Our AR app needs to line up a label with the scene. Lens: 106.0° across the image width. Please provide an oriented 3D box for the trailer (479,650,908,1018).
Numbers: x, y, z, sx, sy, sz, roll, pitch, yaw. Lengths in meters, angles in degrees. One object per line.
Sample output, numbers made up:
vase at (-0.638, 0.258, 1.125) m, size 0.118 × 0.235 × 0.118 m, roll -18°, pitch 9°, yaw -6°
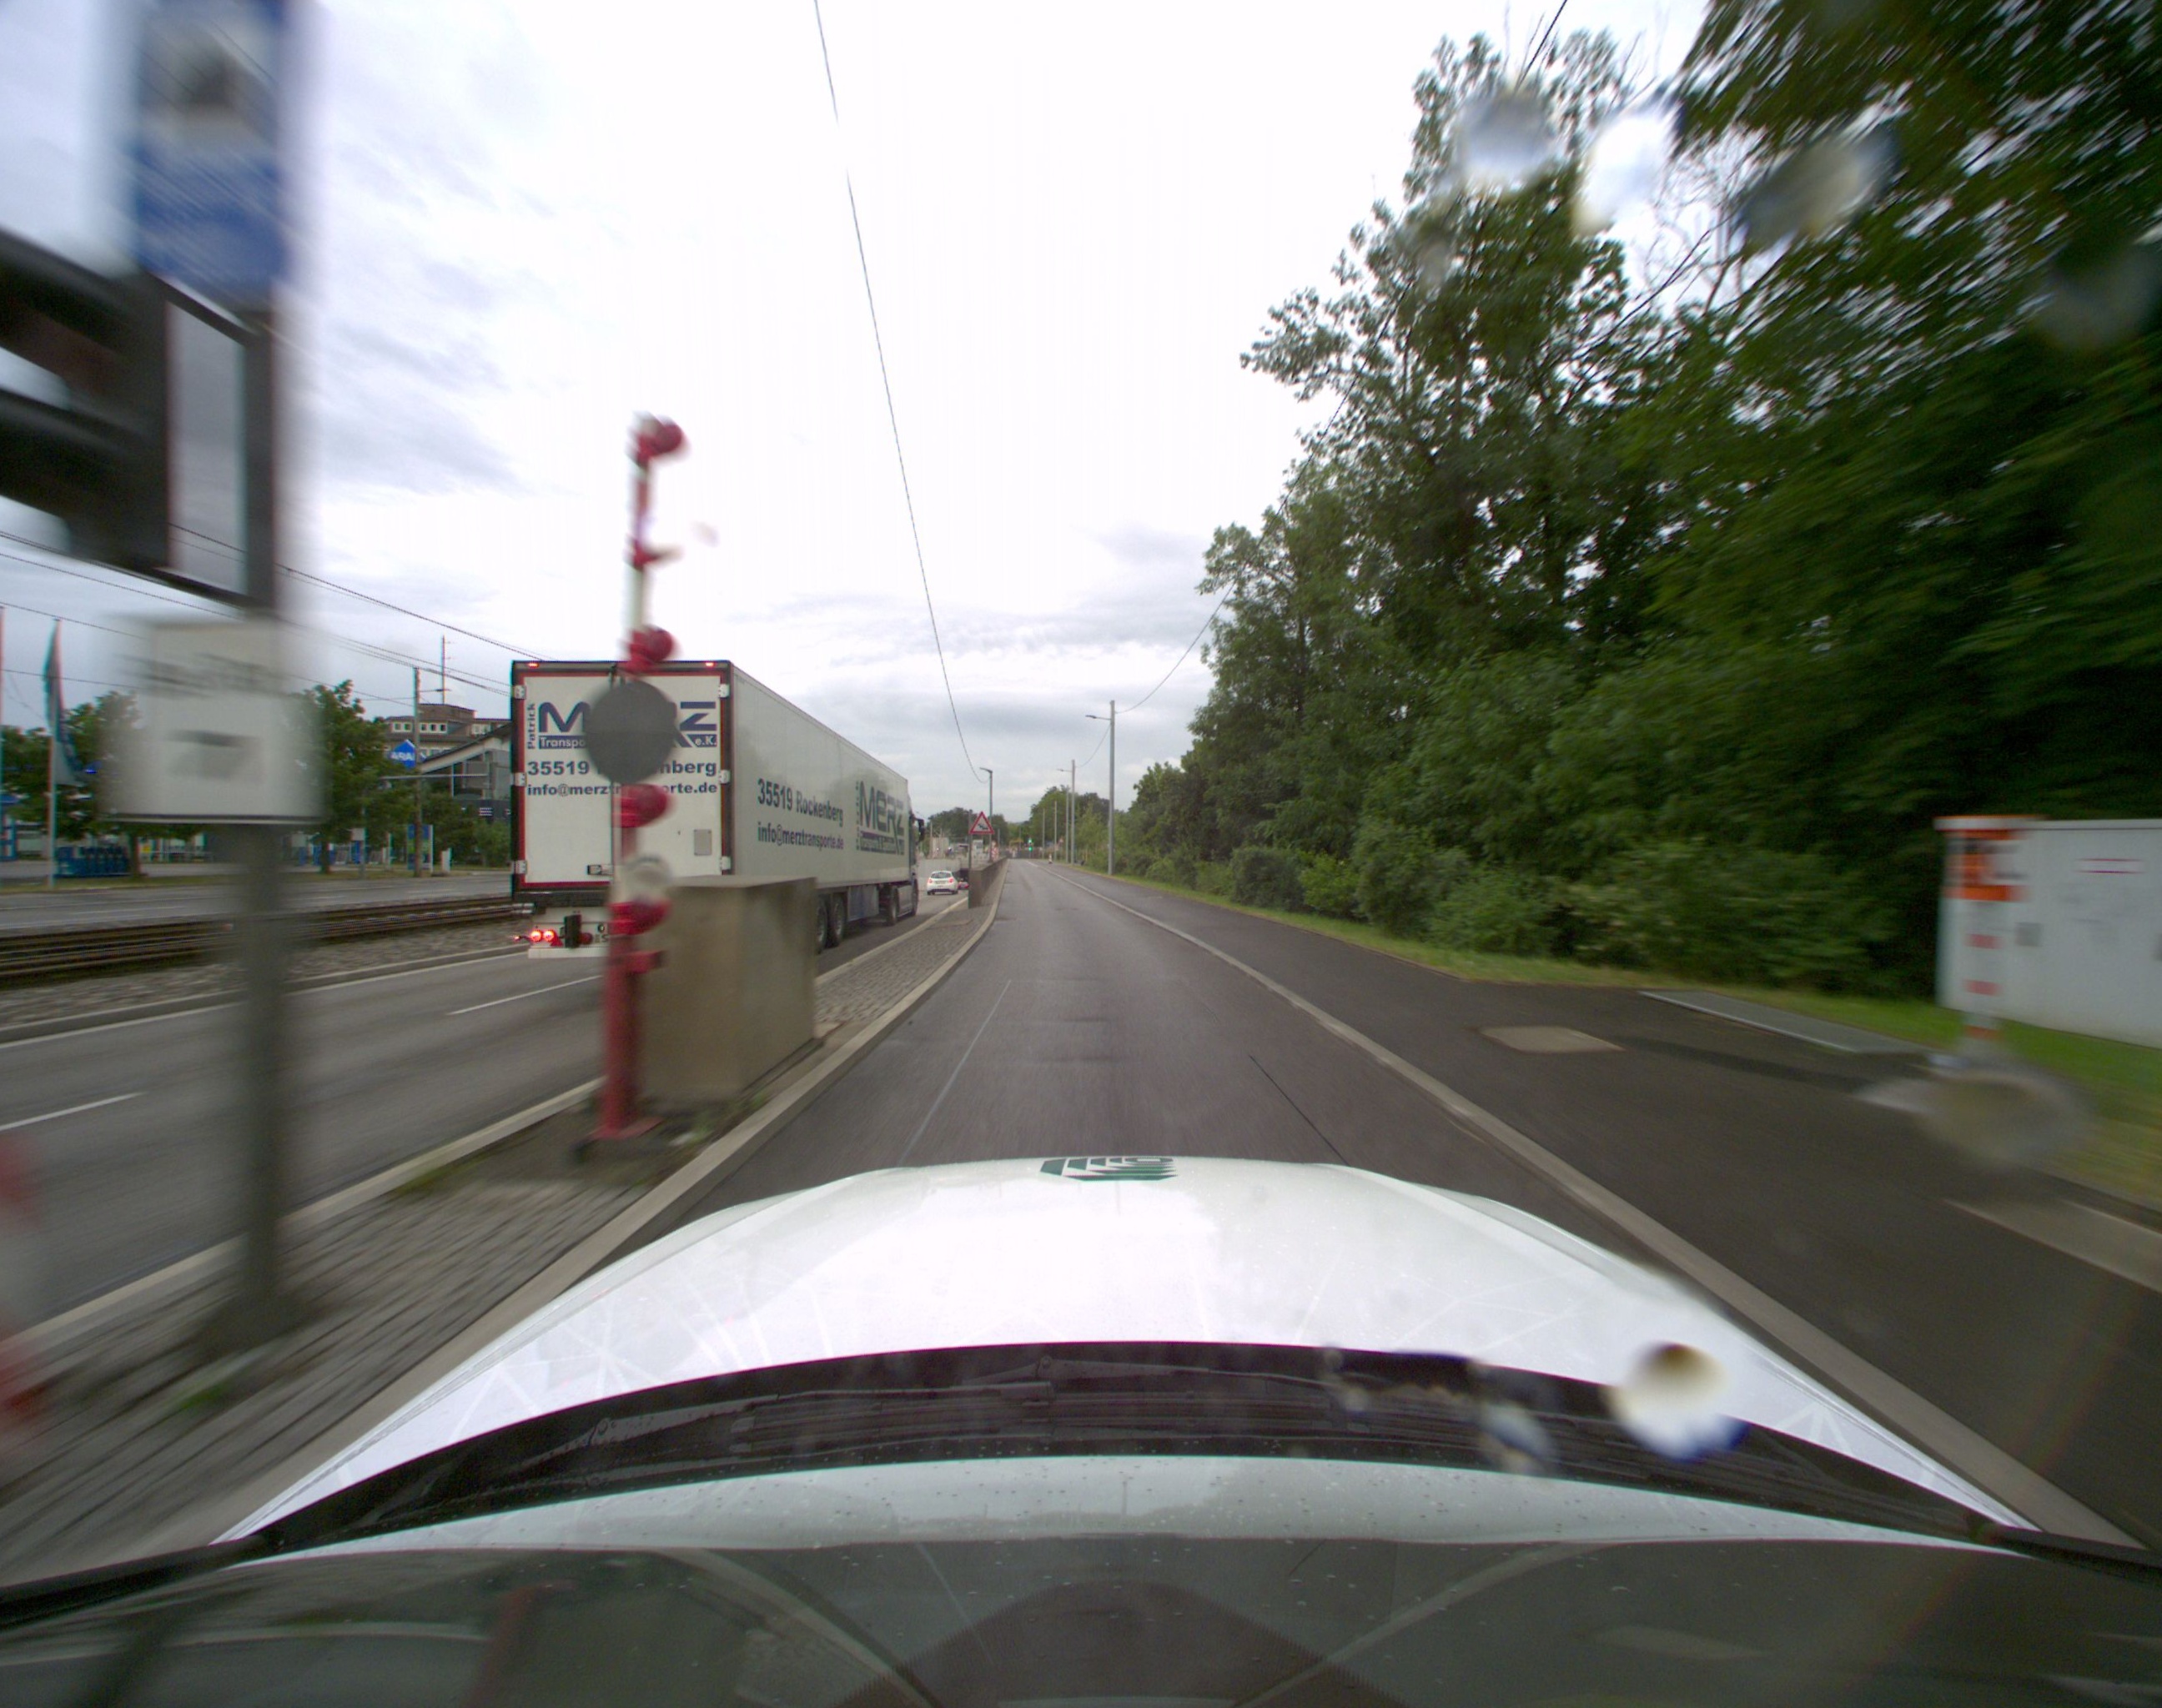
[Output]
trailer at (-5.920, -0.276, 16.140) m, size 2.756 × 4.252 × 13.168 m, roll -1°, pitch 0°, yaw -3°

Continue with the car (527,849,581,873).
car at (-43.511, 0.582, 67.295) m, size 1.757 × 1.610 × 4.063 m, roll 1°, pitch -6°, yaw -1°

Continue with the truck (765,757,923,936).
truck at (-6.264, -0.200, 22.589) m, size 2.750 × 4.205 × 6.299 m, roll -1°, pitch 0°, yaw -3°

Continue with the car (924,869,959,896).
car at (-8.701, 1.775, 51.022) m, size 1.807 × 1.423 × 3.993 m, roll -1°, pitch 2°, yaw -5°

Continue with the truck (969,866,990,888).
truck at (-19.110, 4.266, 153.086) m, size 3.513 × 4.040 × 8.060 m, roll -1°, pitch 0°, yaw -5°
